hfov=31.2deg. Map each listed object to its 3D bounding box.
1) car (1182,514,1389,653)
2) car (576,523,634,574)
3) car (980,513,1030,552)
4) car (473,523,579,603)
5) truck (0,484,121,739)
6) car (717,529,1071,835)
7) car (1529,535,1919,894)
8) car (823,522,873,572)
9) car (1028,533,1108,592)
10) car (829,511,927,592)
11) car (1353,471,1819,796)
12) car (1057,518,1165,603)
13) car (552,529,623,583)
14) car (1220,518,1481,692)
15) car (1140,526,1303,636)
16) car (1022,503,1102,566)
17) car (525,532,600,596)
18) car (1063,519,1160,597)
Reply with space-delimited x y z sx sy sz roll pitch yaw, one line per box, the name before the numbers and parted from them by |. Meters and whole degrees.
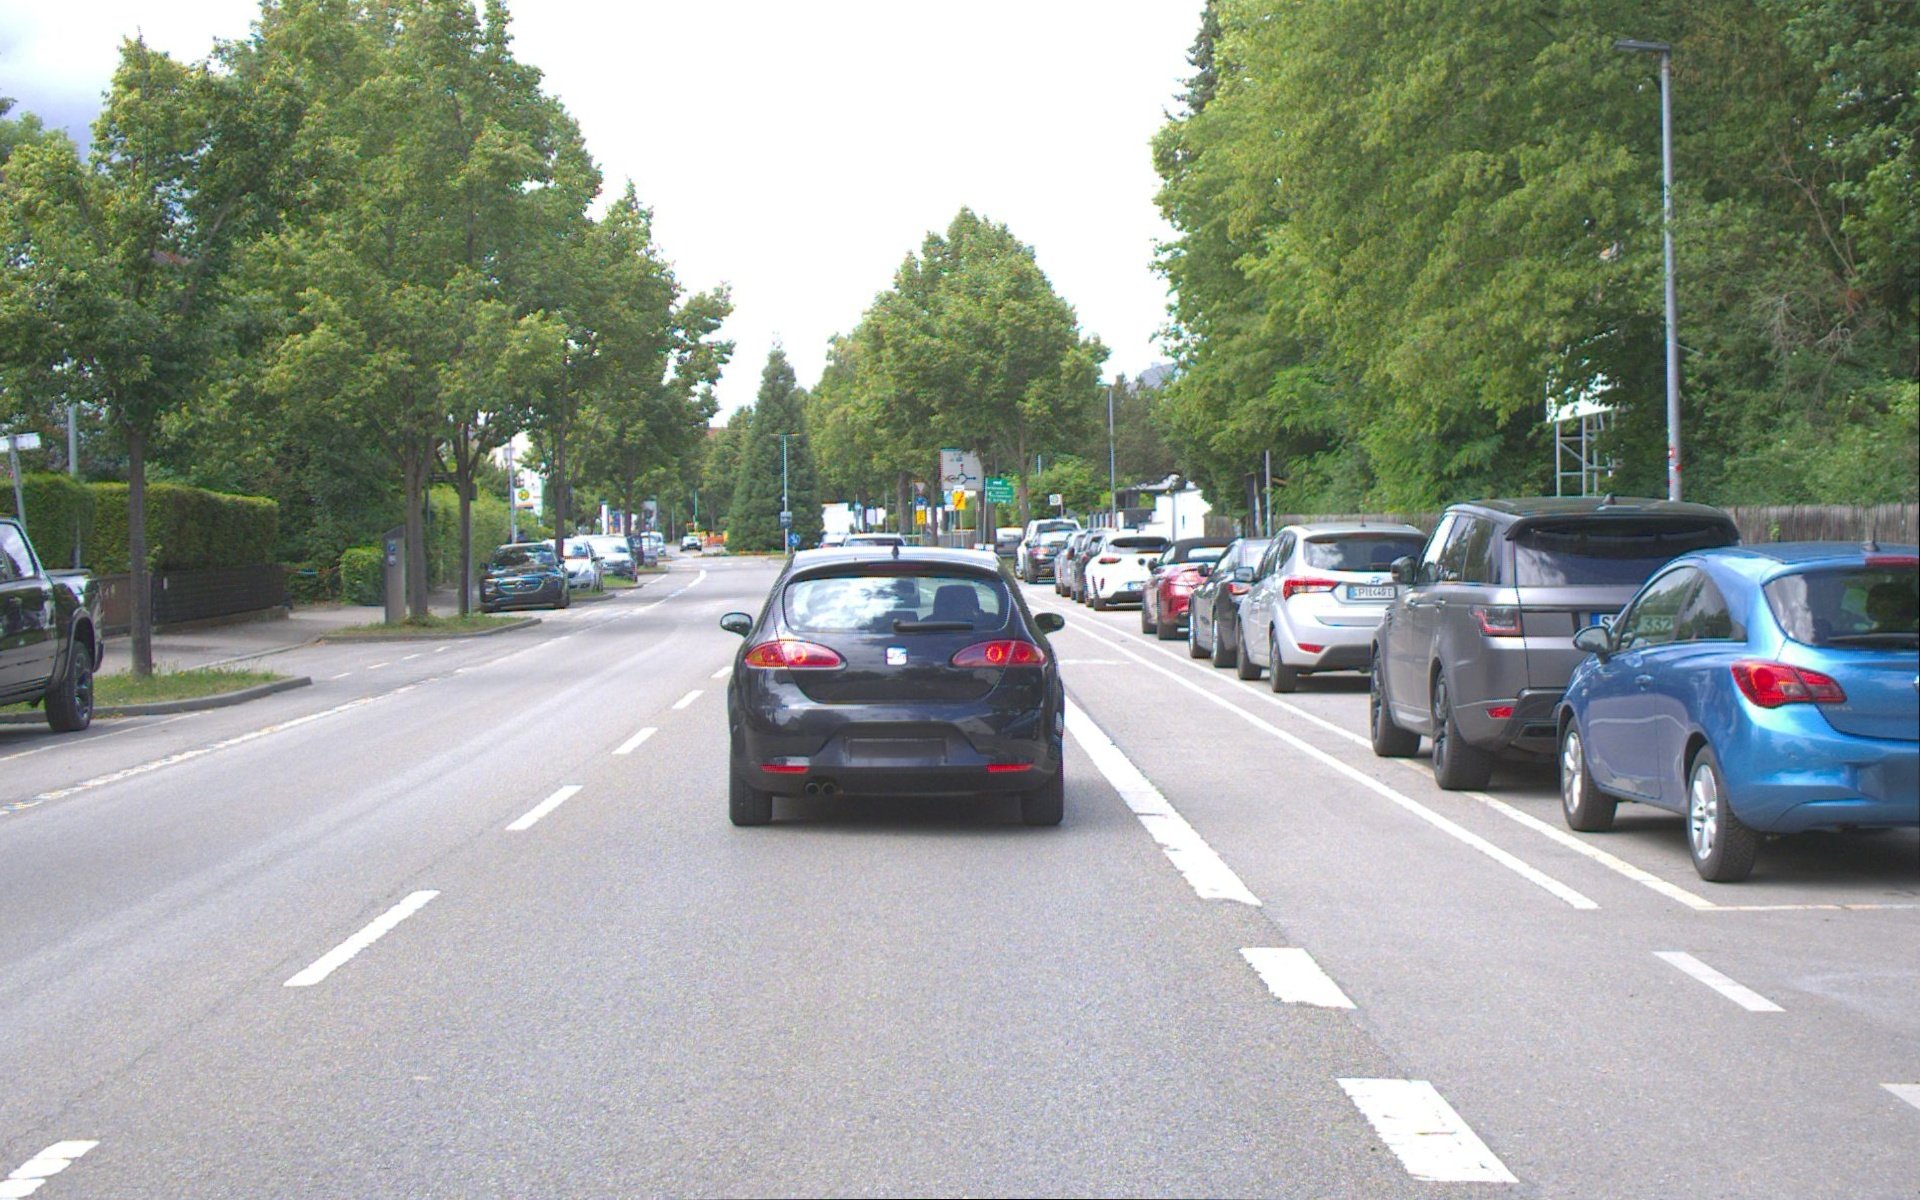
car | 3.688 -0.219 39.654 1.816 1.510 4.680 0 1 -2
car | -11.362 -1.672 110.159 1.677 1.546 4.273 -2 1 -4
car | 1.729 -2.590 132.111 1.611 1.372 4.387 -2 0 -3
car | -9.801 -0.873 77.980 2.095 1.641 5.039 -3 2 -5
truck | -8.912 0.088 28.710 2.423 2.036 5.996 -1 1 -1
car | -0.344 0.363 18.913 1.732 1.481 4.000 0 1 -1
car | 3.965 0.442 16.378 1.684 1.496 3.922 0 1 -3
car | -4.653 -2.202 142.029 1.993 2.007 4.001 -1 1 -2
car | 2.778 -0.981 88.924 1.863 1.412 4.603 -1 2 0
car | -1.760 -1.045 72.687 1.993 1.607 4.001 -1 1 -2
car | 3.770 0.149 21.608 1.993 1.809 4.827 0 1 -1
car | 2.785 -0.750 64.224 1.768 1.505 4.031 -1 1 0
car | -11.072 -1.327 102.304 1.993 1.480 4.892 -3 1 -6
car | 3.780 -0.008 33.976 1.862 1.584 4.422 -1 1 -3
car | 3.660 -0.303 48.811 1.859 1.408 4.444 1 2 -1
car | 2.810 -1.813 95.511 1.900 1.637 4.117 -2 1 -2
car | -10.656 -0.995 92.338 1.718 1.607 3.911 -2 1 -3
car | 3.061 -0.880 70.178 1.702 1.505 4.538 0 2 -1
